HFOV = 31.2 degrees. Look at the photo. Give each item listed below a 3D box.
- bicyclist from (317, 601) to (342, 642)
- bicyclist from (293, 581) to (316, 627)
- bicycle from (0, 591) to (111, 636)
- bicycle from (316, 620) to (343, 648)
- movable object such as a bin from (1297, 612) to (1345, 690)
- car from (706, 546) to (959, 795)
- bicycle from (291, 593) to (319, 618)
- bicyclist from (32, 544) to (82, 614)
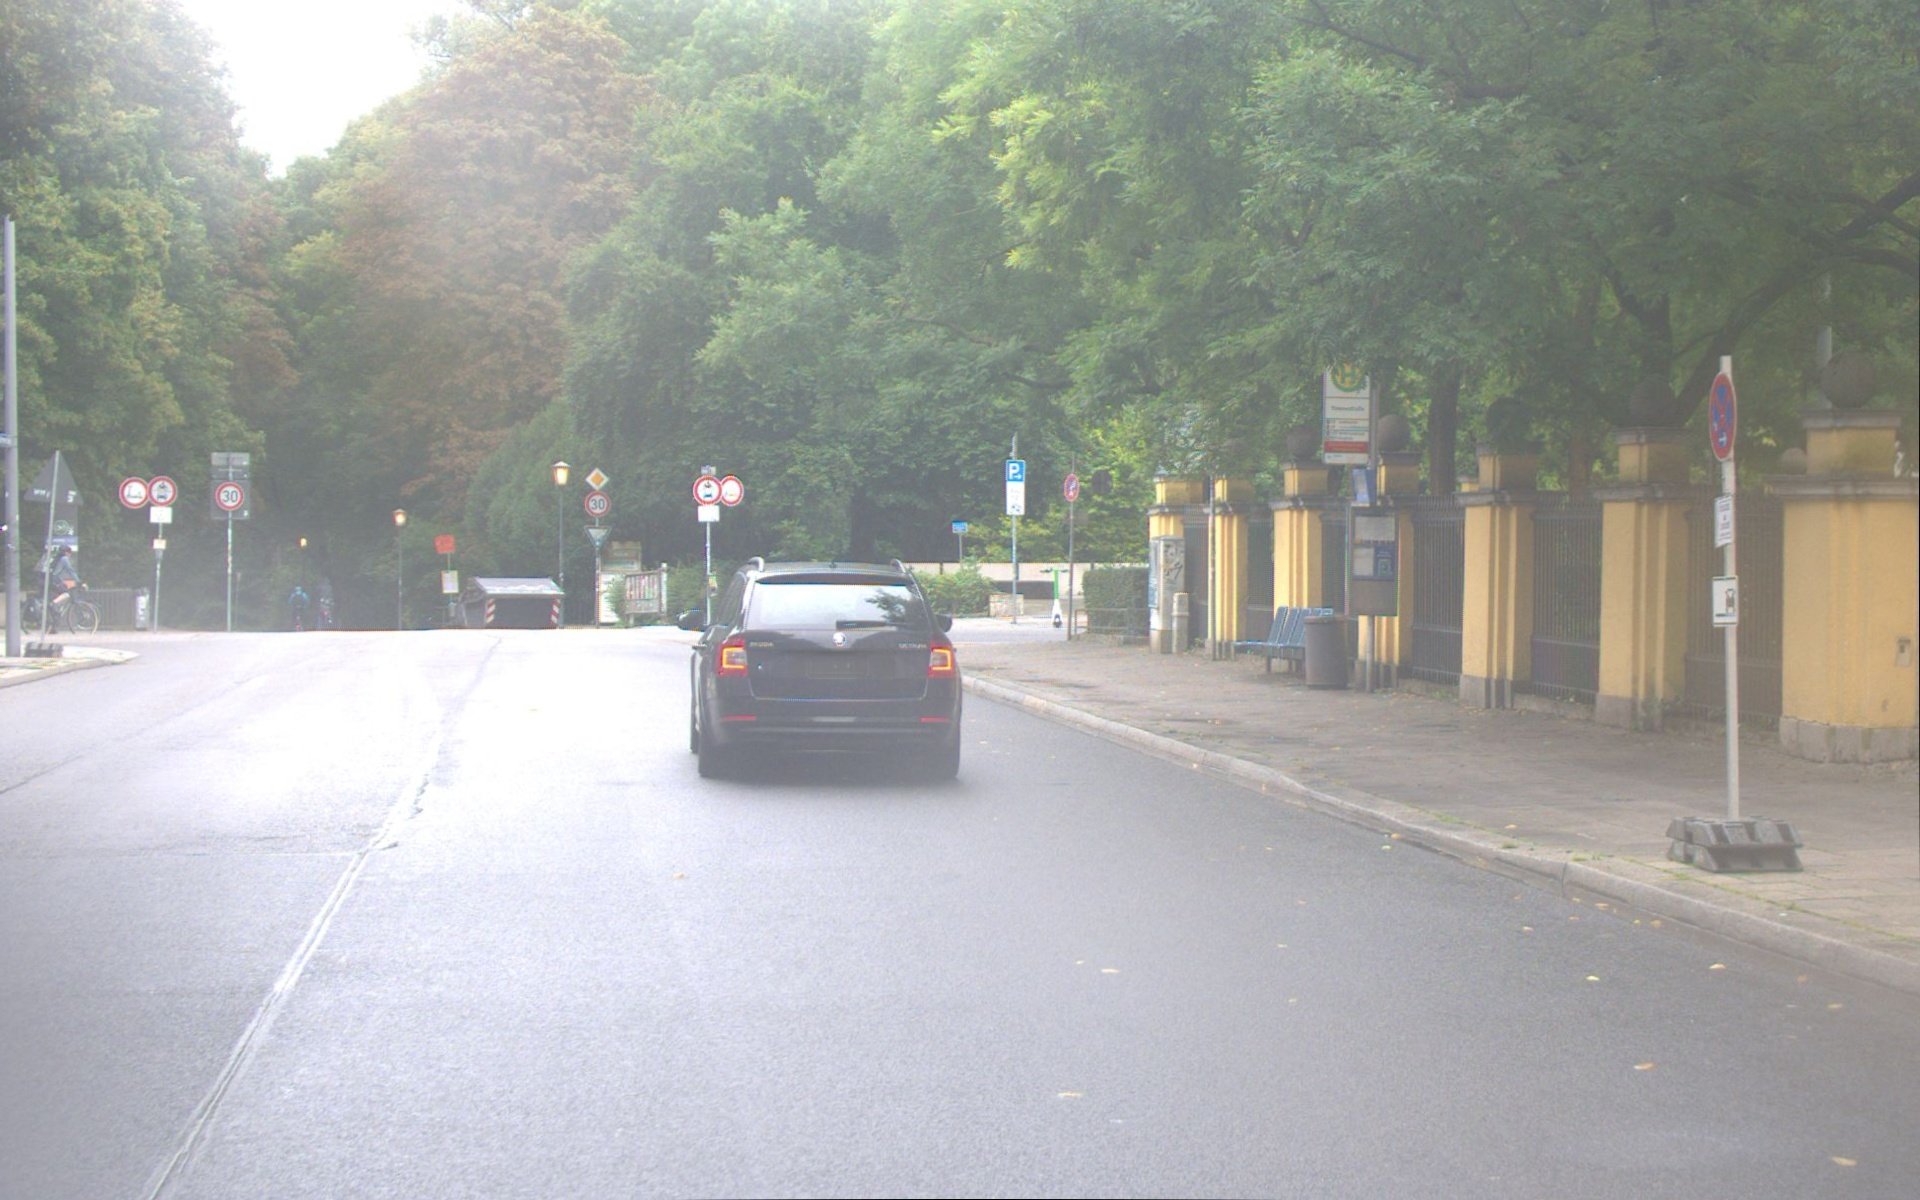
[{"bbox_3d":[-18.507,0.623,100.861,0.680,1.183,0.481,0,1,-7],"label":"bicyclist"},{"bbox_3d":[-21.695,0.129,113.746,0.680,1.499,0.901,0,1,-16],"label":"bicyclist"},{"bbox_3d":[-16.722,0.245,63.457,0.681,0.827,2.105,0,0,35],"label":"bicycle"},{"bbox_3d":[-18.504,0.993,100.862,0.679,0.827,2.110,0,0,-8],"label":"bicycle"},{"bbox_3d":[3.636,0.512,34.656,0.396,0.778,0.465,0,1,-5],"label":"movable object such as a bin"},{"bbox_3d":[-0.958,0.424,23.896,1.577,1.578,4.045,0,1,-5],"label":"car"},{"bbox_3d":[-21.663,0.173,113.647,0.679,0.827,2.110,0,0,-17],"label":"bicycle"},{"bbox_3d":[-16.680,-0.389,63.509,0.682,1.278,0.598,1,1,35],"label":"bicyclist"}]
